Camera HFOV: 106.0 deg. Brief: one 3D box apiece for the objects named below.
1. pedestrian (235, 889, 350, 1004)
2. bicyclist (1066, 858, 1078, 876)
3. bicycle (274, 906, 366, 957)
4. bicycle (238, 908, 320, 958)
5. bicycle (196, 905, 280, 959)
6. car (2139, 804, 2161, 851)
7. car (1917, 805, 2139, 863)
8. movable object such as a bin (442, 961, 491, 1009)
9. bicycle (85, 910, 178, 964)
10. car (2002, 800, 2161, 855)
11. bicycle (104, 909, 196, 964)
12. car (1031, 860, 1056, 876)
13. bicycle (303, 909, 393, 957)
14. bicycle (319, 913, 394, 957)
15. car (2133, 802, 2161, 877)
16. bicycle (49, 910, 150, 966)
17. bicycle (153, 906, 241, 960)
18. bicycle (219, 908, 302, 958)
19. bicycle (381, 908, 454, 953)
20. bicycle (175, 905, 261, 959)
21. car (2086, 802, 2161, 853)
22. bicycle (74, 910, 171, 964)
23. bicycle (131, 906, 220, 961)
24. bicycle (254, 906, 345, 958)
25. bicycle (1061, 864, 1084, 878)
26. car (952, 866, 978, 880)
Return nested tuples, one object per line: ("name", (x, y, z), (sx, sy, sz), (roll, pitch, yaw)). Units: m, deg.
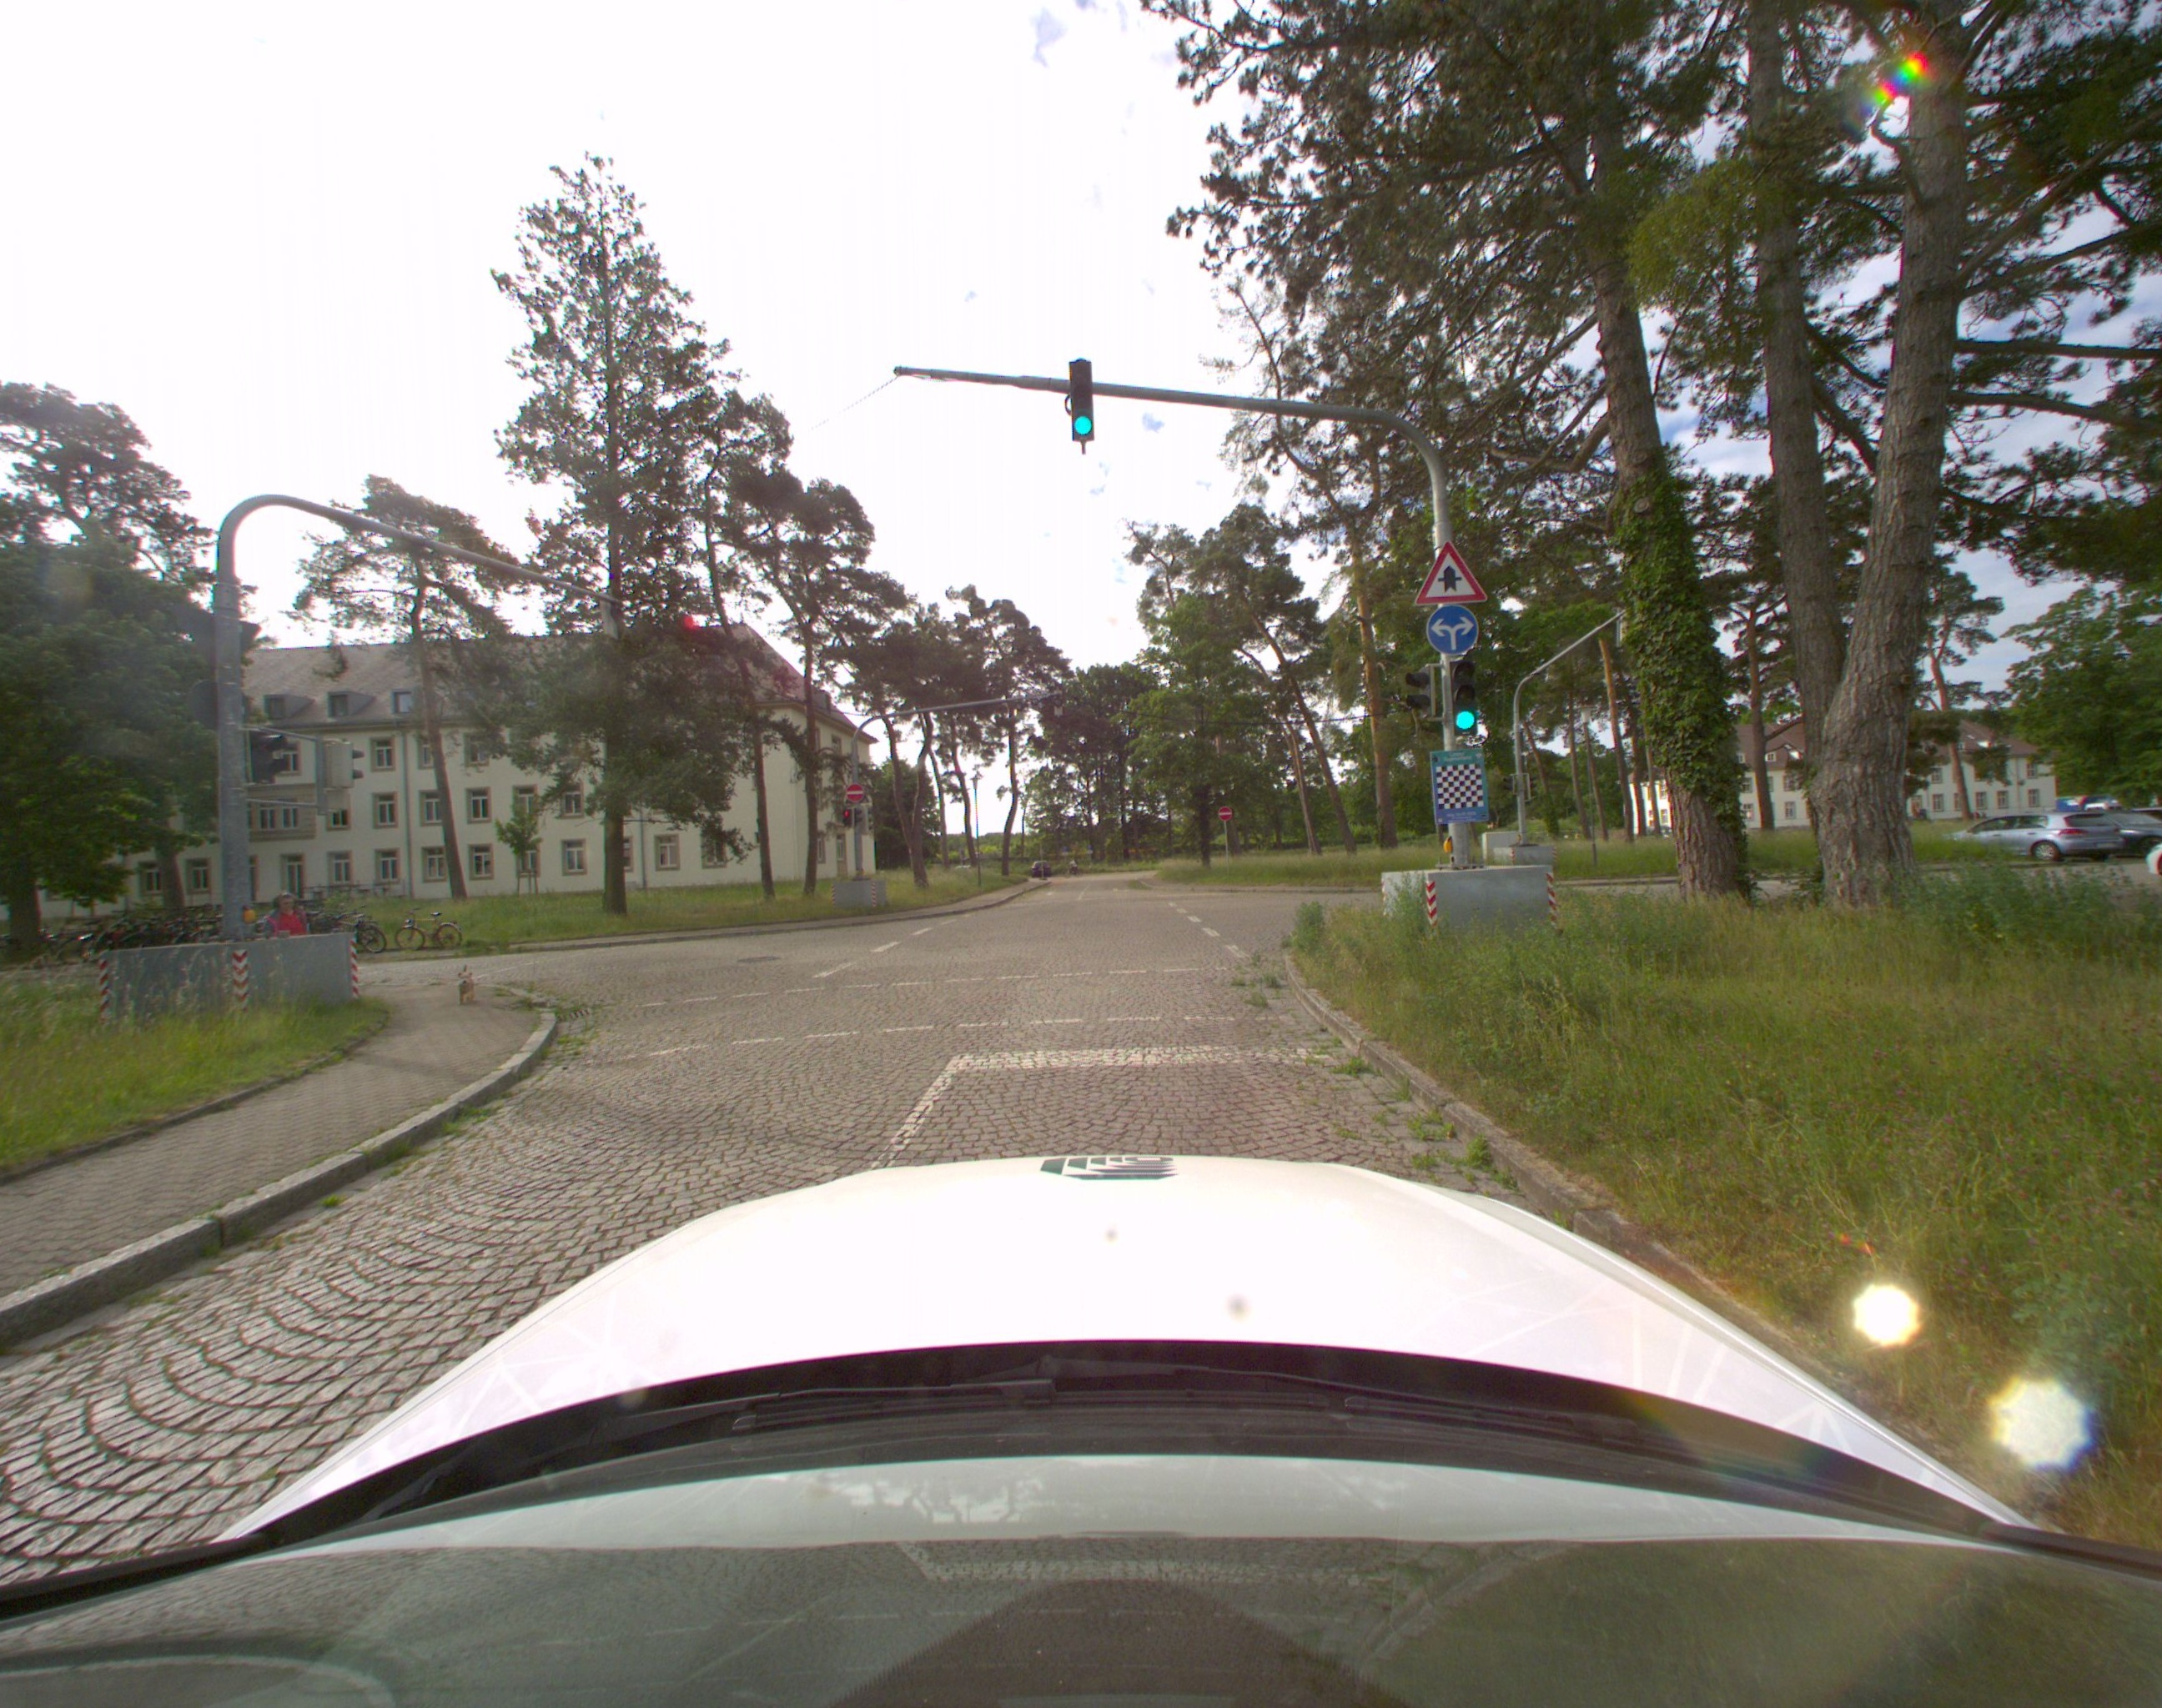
("pedestrian", (-12.377, 1.434, 12.808), (0.853, 1.668, 0.944), (-3, 0, 17))
("bicyclist", (-0.762, 1.174, 71.791), (0.972, 1.510, 0.807), (-3, 0, -2))
("bicycle", (-20.402, 2.049, 21.884), (0.573, 1.178, 1.954), (-3, 0, 0))
("bicycle", (-21.497, 2.094, 21.867), (0.447, 1.178, 1.695), (-3, 0, 0))
("bicycle", (-22.695, 2.065, 21.966), (0.447, 1.283, 1.695), (-3, 0, 0))
("car", (36.449, -0.929, 25.117), (1.748, 1.524, 4.445), (-3, 0, -2))
("car", (28.924, -0.564, 25.128), (1.745, 1.524, 4.451), (-3, 0, 3))
("movable object such as a bin", (-8.093, 1.712, 10.745), (0.446, 0.503, 0.744), (-3, 0, -34))
("bicycle", (-25.428, 2.197, 21.846), (0.447, 1.283, 1.695), (-3, 0, 0))
("car", (31.337, -0.783, 24.654), (1.748, 1.524, 4.444), (-3, 0, -2))
("bicycle", (-24.942, 2.183, 21.853), (0.447, 1.283, 1.695), (-3, 0, 0))
("car", (-3.527, 1.313, 77.579), (1.985, 1.508, 4.003), (-1, 0, 3))
("bicycle", (-19.703, 2.094, 21.953), (0.573, 1.078, 1.996), (-3, 0, 0))
("bicycle", (-18.205, 2.035, 20.474), (1.453, 0.996, 0.452), (-3, -1, 2))
("car", (21.375, -0.348, 13.597), (1.748, 1.415, 4.444), (-3, -1, -2))
("bicycle", (-26.360, 2.227, 21.921), (0.447, 1.283, 1.827), (-3, 0, 0))
("bicycle", (-23.716, 2.094, 21.891), (0.447, 1.283, 1.695), (-3, 0, 0))
("bicycle", (-21.983, 2.095, 21.851), (0.447, 1.178, 1.695), (-3, 0, 0))
("bicycle", (-16.683, 1.918, 20.481), (1.453, 0.996, 0.452), (-3, -1, 2))
("bicycle", (-23.200, 2.080, 21.929), (0.447, 1.283, 1.695), (-3, 0, 0))
("car", (33.988, -0.859, 24.572), (1.748, 1.524, 4.445), (-3, 0, -2))
("bicycle", (-25.893, 2.214, 22.049), (0.441, 1.283, 1.785), (-3, 0, 0))
("bicycle", (-24.279, 2.111, 21.873), (0.447, 1.283, 1.695), (-3, 0, 0))
("bicycle", (-20.984, 2.066, 21.918), (0.525, 1.178, 1.930), (-3, 0, 0))
("bicycle", (-0.761, 1.527, 71.773), (1.981, 1.095, 0.809), (-3, 0, -3))
("car", (-11.234, 1.833, 78.880), (1.682, 1.156, 4.003), (-3, 0, 3))
